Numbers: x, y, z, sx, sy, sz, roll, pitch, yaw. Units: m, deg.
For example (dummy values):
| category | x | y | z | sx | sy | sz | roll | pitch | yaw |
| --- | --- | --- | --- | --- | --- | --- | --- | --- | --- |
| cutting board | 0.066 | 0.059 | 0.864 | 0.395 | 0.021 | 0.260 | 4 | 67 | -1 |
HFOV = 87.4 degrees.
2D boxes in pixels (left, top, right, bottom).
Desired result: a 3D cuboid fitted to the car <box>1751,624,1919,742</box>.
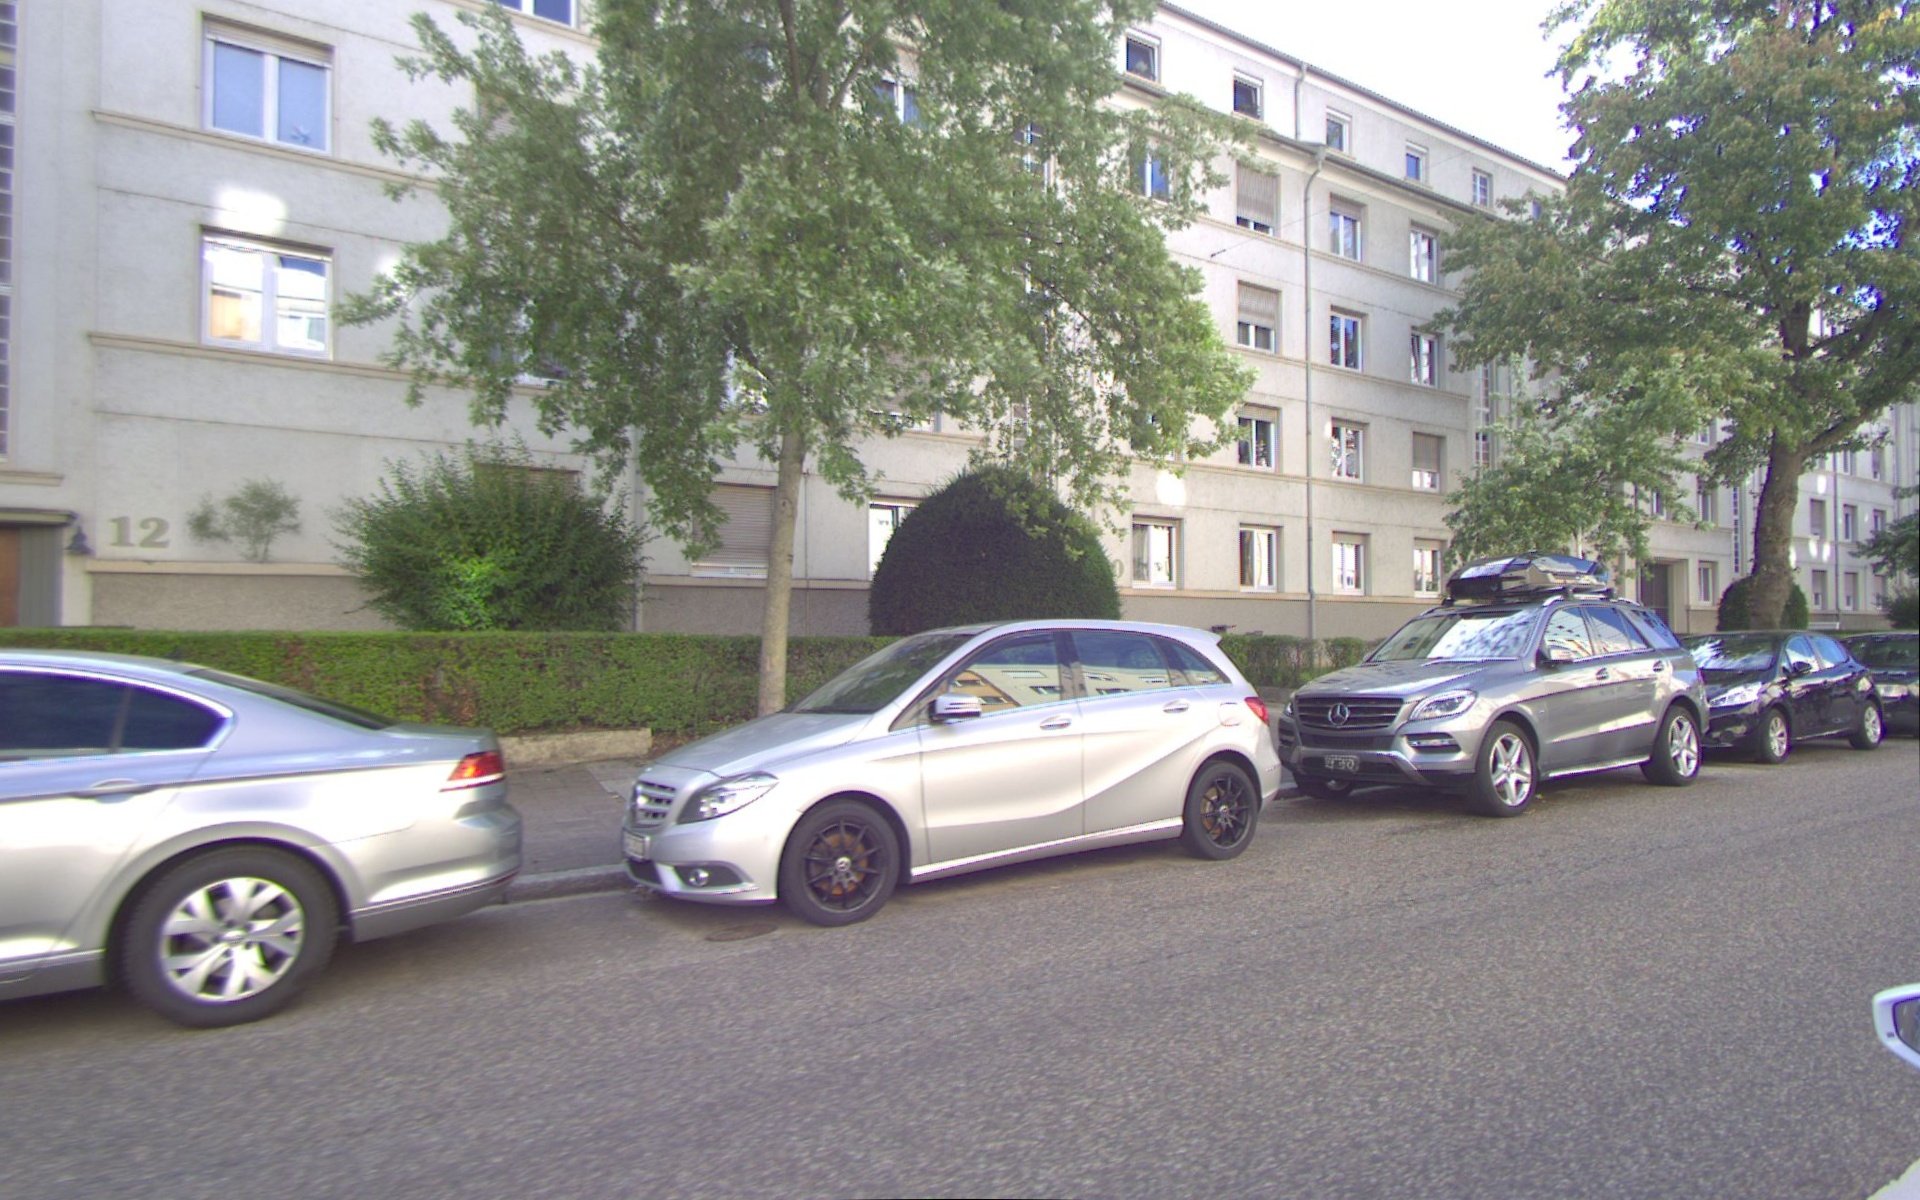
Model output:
| category | x | y | z | sx | sy | sz | roll | pitch | yaw |
| --- | --- | --- | --- | --- | --- | --- | --- | --- | --- |
| car | 13.645 | 1.155 | 14.603 | 4.396 | 1.499 | 1.680 | 1 | -6 | -28 |

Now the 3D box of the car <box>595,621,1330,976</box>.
| category | x | y | z | sx | sy | sz | roll | pitch | yaw |
| --- | --- | --- | --- | --- | --- | --- | --- | --- | --- |
| car | 0.114 | 0.973 | 6.470 | 4.407 | 1.593 | 1.847 | 1 | -4 | -30 |

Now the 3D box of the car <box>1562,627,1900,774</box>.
| category | x | y | z | sx | sy | sz | roll | pitch | yaw |
| --- | --- | --- | --- | --- | --- | --- | --- | --- | --- |
| car | 9.334 | 1.142 | 12.115 | 4.069 | 1.499 | 1.679 | 1 | -6 | -29 |

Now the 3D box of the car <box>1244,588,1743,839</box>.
| category | x | y | z | sx | sy | sz | roll | pitch | yaw |
| --- | --- | --- | --- | --- | --- | --- | --- | --- | --- |
| car | 5.105 | 0.913 | 9.399 | 4.915 | 1.816 | 1.868 | 1 | -4 | -32 |

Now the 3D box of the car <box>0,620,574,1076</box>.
| category | x | y | z | sx | sy | sz | roll | pitch | yaw |
| --- | --- | --- | --- | --- | --- | --- | --- | --- | --- |
| car | -4.204 | 0.892 | 3.821 | 4.887 | 1.505 | 1.847 | 1 | -5 | -31 |

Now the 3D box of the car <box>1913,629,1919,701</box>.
| category | x | y | z | sx | sy | sz | roll | pitch | yaw |
| --- | --- | --- | --- | --- | --- | --- | --- | --- | --- |
| car | 18.429 | 1.172 | 17.481 | 3.918 | 1.437 | 1.593 | 1 | -5 | -31 |
